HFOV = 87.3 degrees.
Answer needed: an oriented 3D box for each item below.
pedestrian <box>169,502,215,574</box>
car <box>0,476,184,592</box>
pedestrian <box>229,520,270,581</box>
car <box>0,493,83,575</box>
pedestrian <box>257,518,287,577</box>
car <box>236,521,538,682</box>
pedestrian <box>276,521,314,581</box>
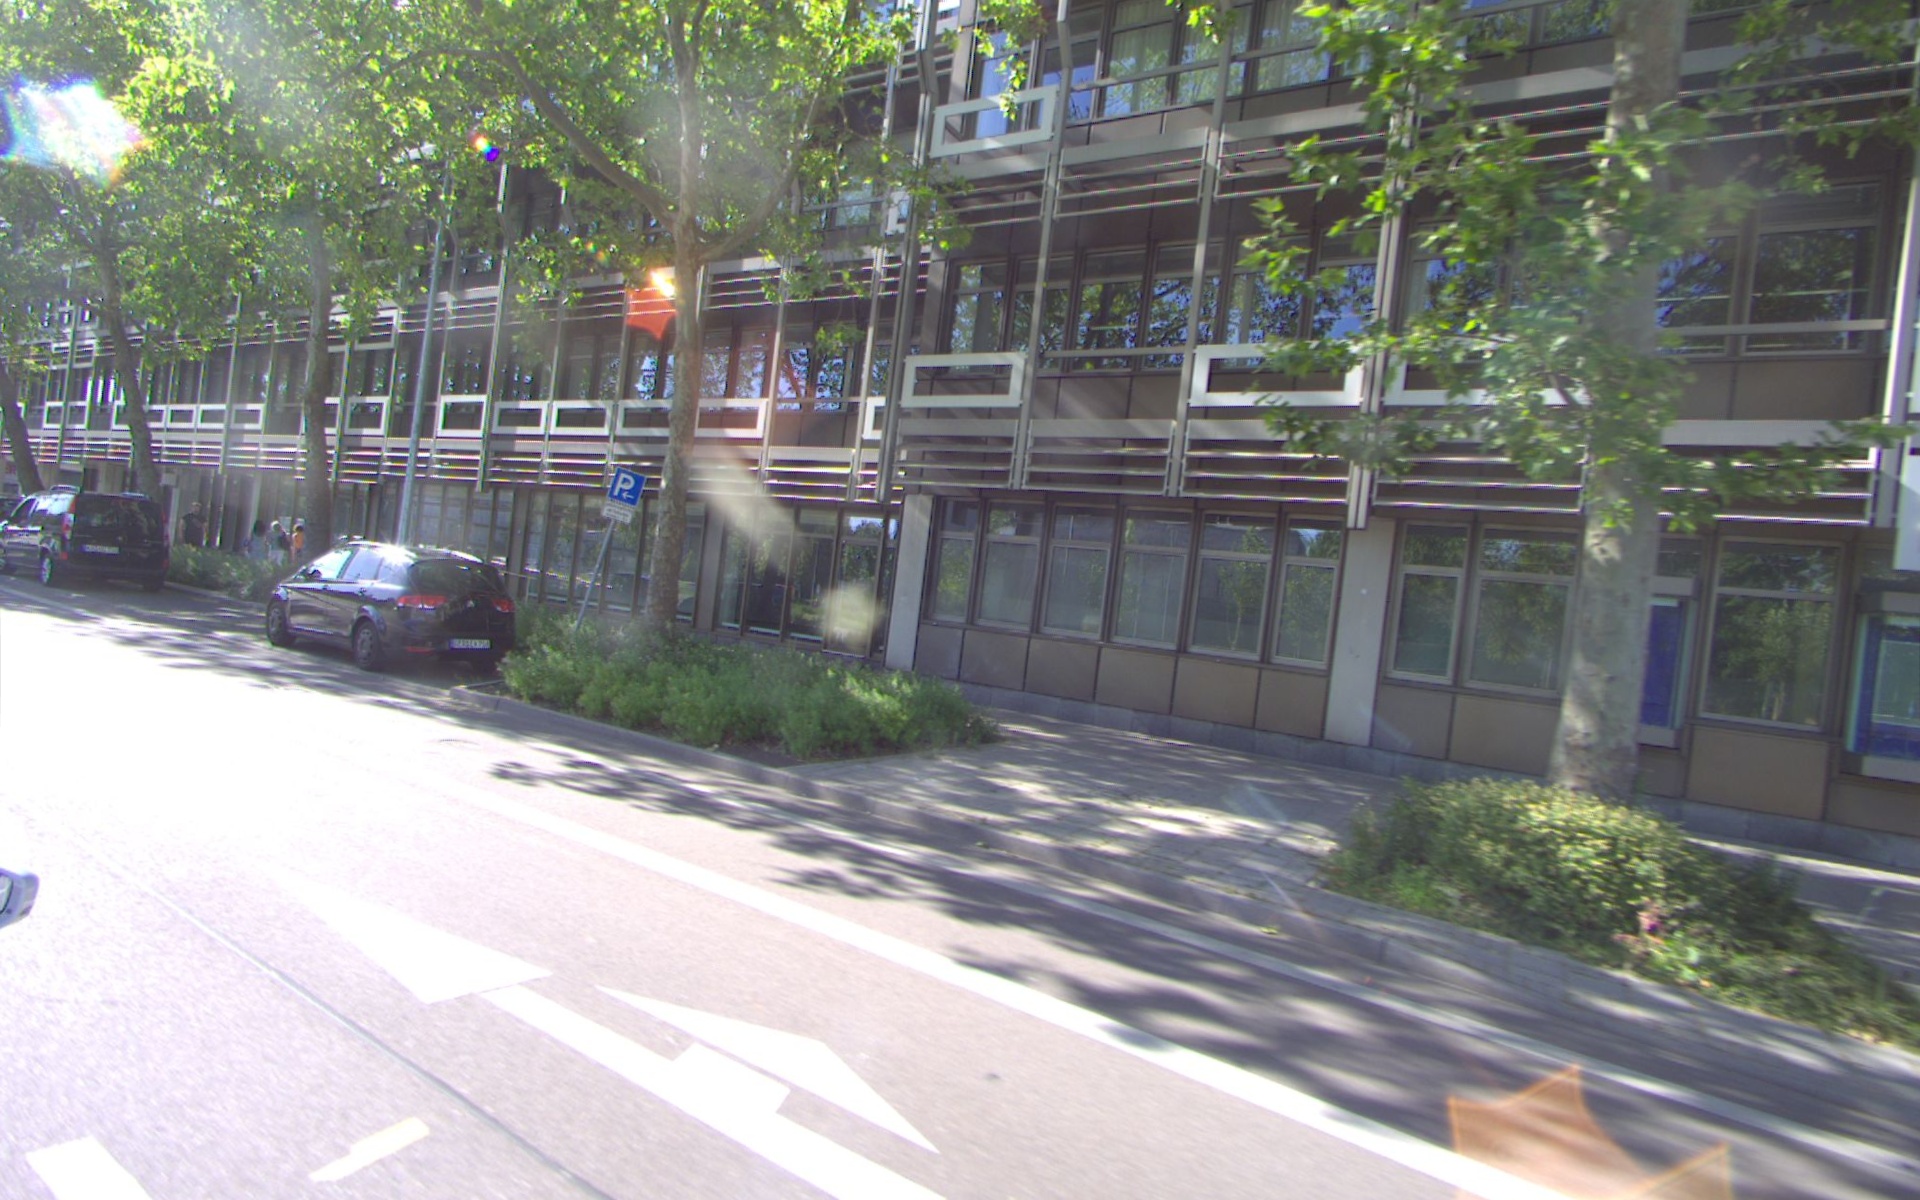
[{"bbox_3d":[-22.045,-1.775,28.867,0.548,1.937,0.678,6,-3,32],"label":"pedestrian"},{"bbox_3d":[-17.138,-1.317,19.687,4.123,1.813,1.705,7,1,33],"label":"car"},{"bbox_3d":[-19.822,-1.385,28.068,0.623,1.603,0.507,7,0,24],"label":"pedestrian"},{"bbox_3d":[-21.795,-1.610,22.797,4.123,1.582,1.706,7,-1,33],"label":"car"},{"bbox_3d":[-19.550,-1.494,28.580,0.492,1.603,0.316,7,0,24],"label":"pedestrian"},{"bbox_3d":[-7.983,-0.031,13.853,4.562,1.664,1.704,7,1,34],"label":"car"},{"bbox_3d":[-19.225,-1.421,29.091,0.564,1.622,0.554,7,0,32],"label":"pedestrian"}]
